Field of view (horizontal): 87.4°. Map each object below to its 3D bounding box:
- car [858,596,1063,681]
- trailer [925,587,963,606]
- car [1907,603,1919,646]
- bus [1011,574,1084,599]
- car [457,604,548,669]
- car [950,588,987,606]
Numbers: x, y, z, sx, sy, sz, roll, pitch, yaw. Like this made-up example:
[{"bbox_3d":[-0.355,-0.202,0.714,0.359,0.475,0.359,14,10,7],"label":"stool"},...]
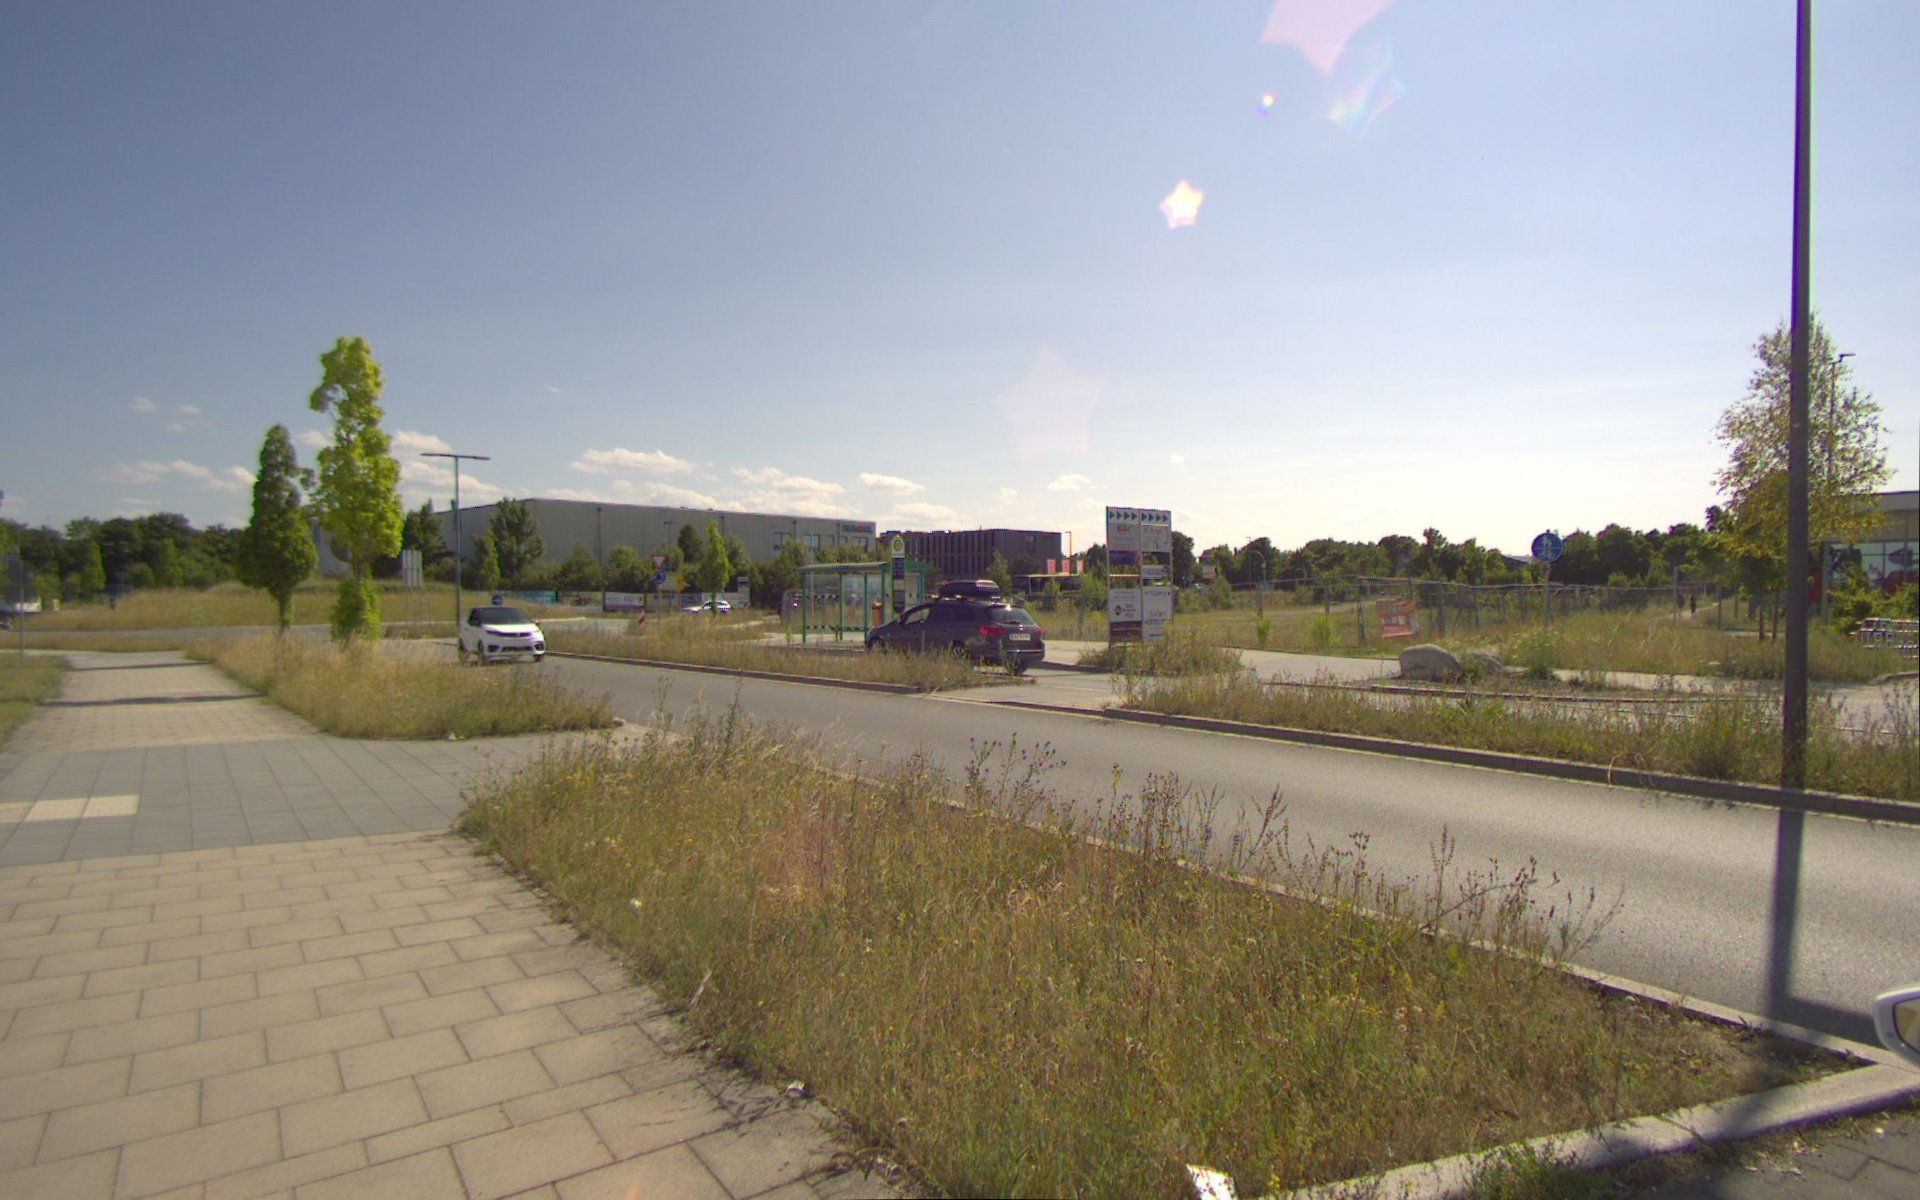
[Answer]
[{"bbox_3d":[-0.068,0.723,21.000,1.986,1.537,4.142,0,1,-44],"label":"car"},{"bbox_3d":[-1.577,-0.314,101.329,1.799,1.885,3.984,1,1,37],"label":"trailer"},{"bbox_3d":[34.381,0.870,33.604,1.759,1.442,3.797,0,1,-42],"label":"car"},{"bbox_3d":[10.307,-1.539,116.531,2.540,2.772,11.516,1,1,39],"label":"bus"},{"bbox_3d":[-11.978,0.898,26.230,1.466,1.510,2.967,-2,2,-39],"label":"car"},{"bbox_3d":[0.872,-0.304,104.483,1.799,1.885,3.984,1,1,37],"label":"car"}]
